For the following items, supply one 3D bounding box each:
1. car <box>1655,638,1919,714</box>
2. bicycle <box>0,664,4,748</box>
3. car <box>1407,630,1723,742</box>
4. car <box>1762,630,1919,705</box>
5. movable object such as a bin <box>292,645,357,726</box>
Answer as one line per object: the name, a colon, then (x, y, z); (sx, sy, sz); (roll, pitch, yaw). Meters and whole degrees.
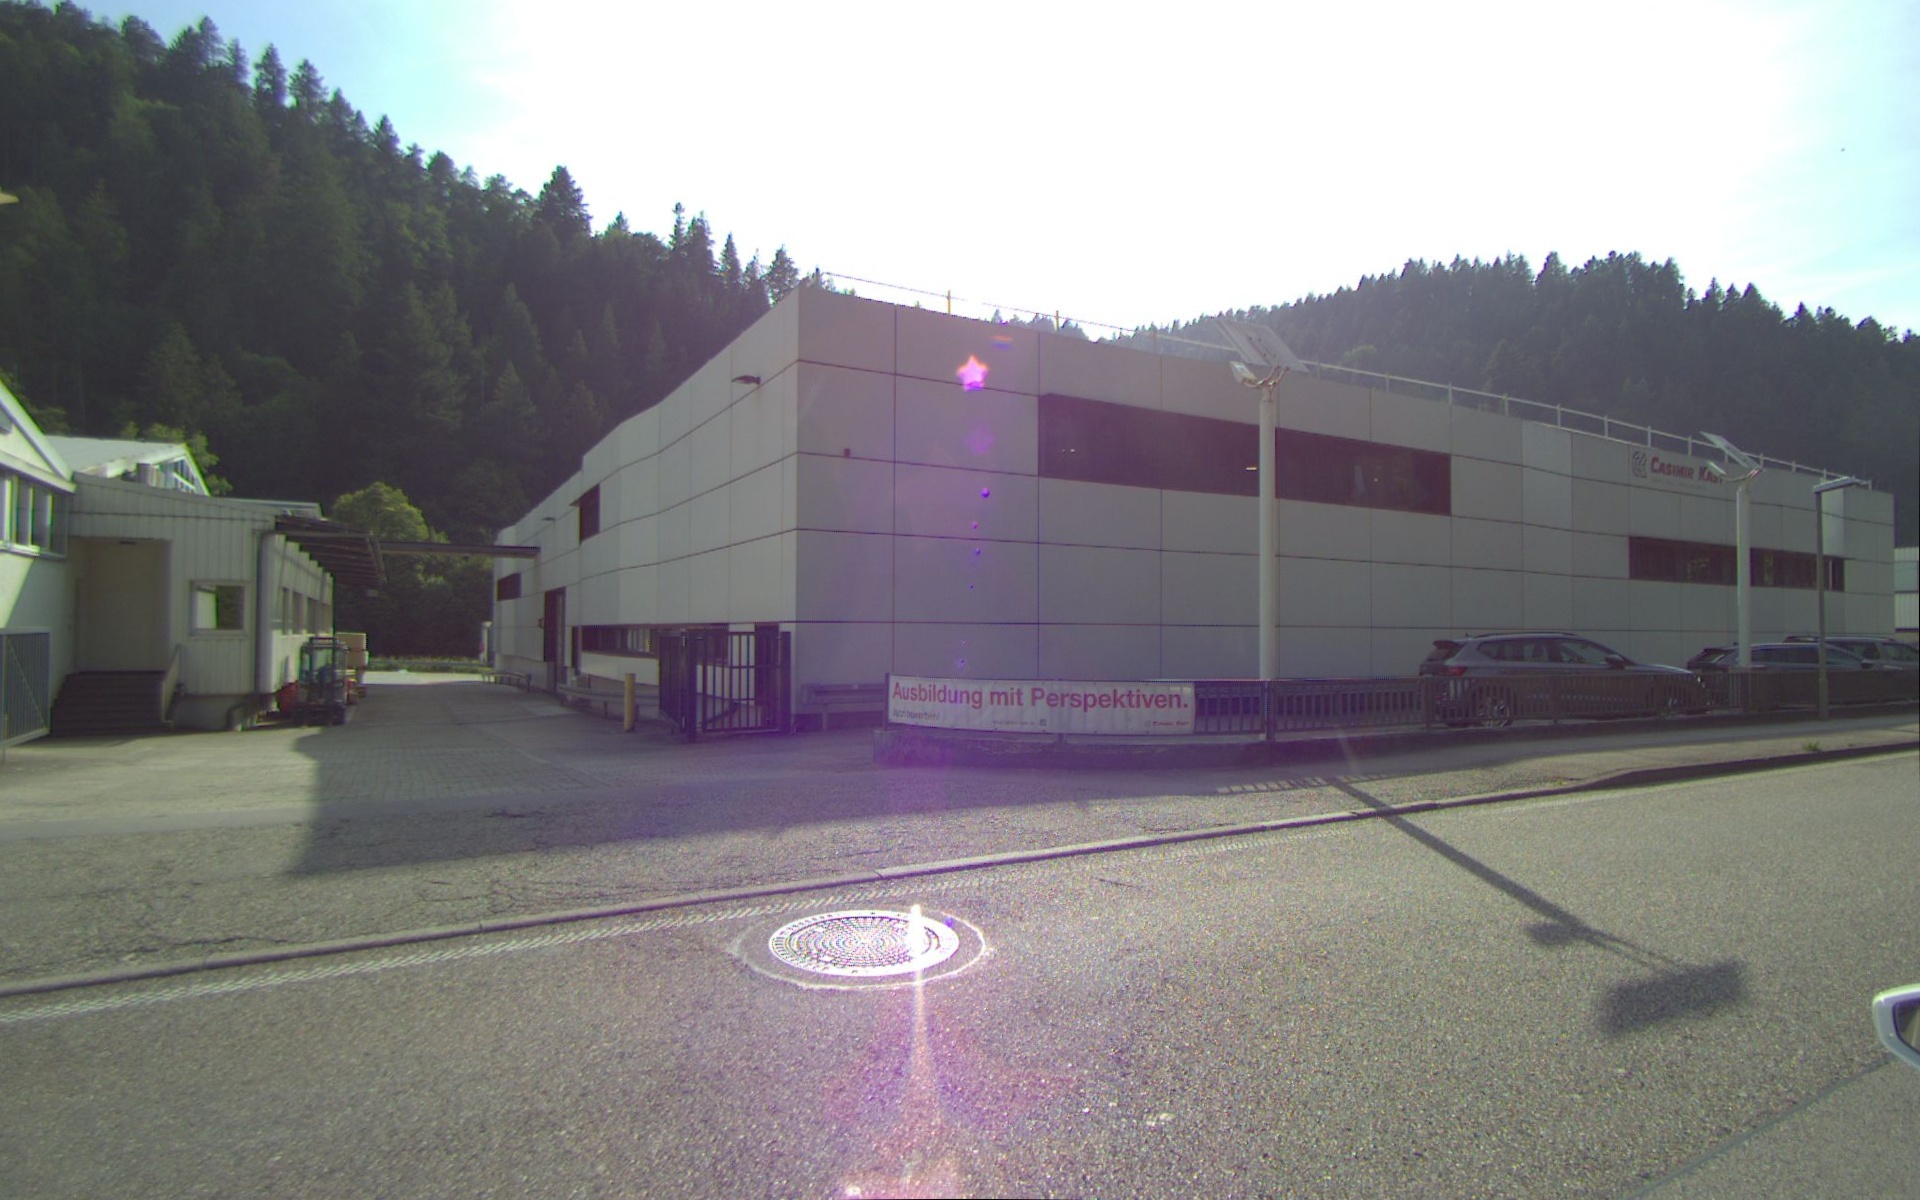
car: (18.702, 1.676, 22.820); (4.397, 1.514, 1.890); (1, -1, 12)
bicycle: (-14.188, 1.524, 13.955); (1.033, 1.276, 2.472); (2, -4, -38)
car: (9.857, 1.355, 16.715); (4.090, 1.613, 1.890); (1, -1, 12)
car: (22.559, 1.642, 24.724); (4.027, 1.731, 1.783); (1, -1, 12)
movable object such as a bin: (-16.864, 2.238, 26.664); (1.367, 2.040, 1.806); (2, -4, -32)
